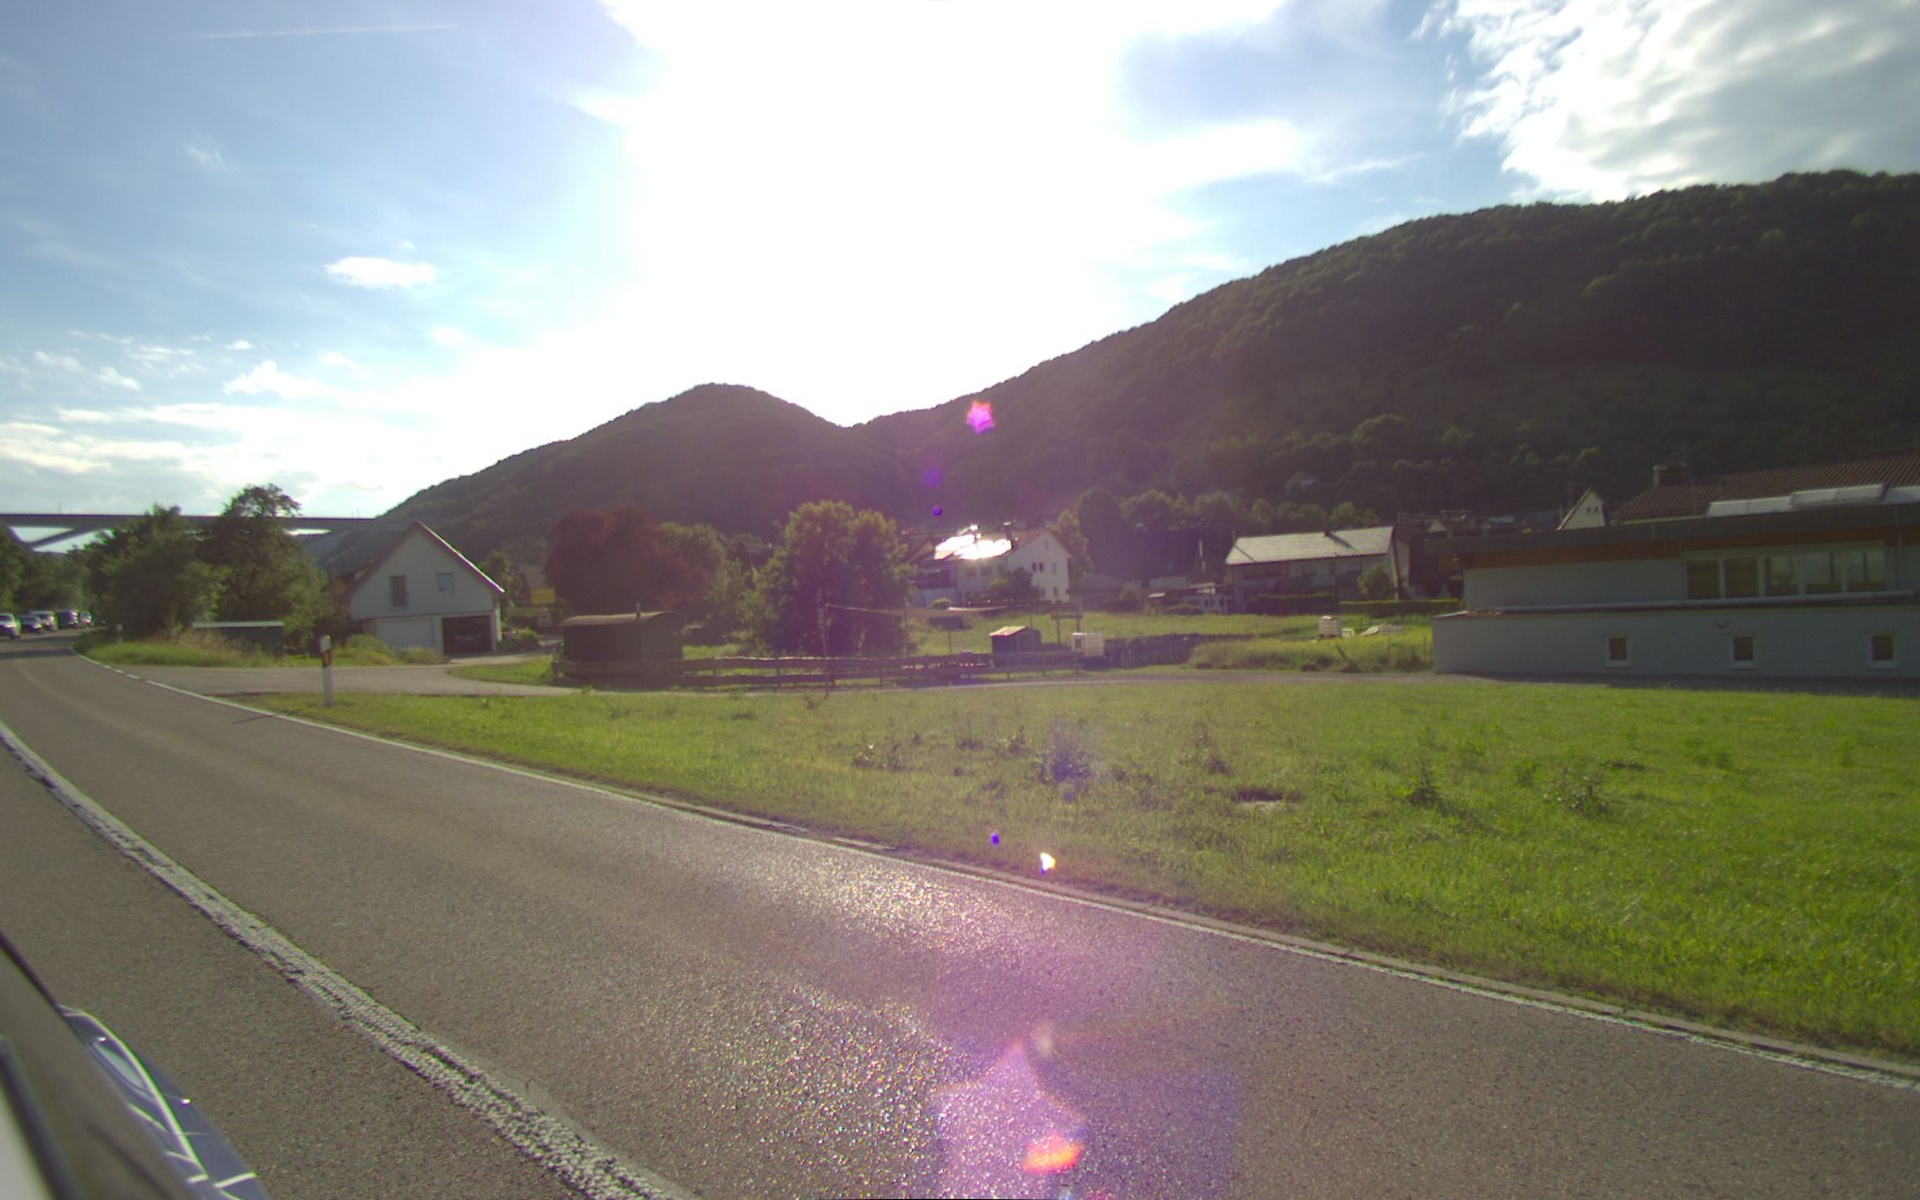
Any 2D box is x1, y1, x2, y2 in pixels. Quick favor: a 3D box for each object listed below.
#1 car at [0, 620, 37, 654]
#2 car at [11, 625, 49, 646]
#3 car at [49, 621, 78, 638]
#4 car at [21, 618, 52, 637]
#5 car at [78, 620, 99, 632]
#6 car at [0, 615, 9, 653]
[{"bbox_3d":[-59.995,2.319,64.211,1.886,2.029,4.007,1,-2,-39],"label":"car"},{"bbox_3d":[-71.043,2.681,77.353,1.813,1.564,4.185,1,-2,-39],"label":"car"},{"bbox_3d":[-88.125,2.865,99.511,1.790,1.630,4.009,1,-2,-37],"label":"car"},{"bbox_3d":[-80.148,2.349,87.843,1.791,1.630,4.007,1,-2,-40],"label":"car"},{"bbox_3d":[-112.912,3.368,131.184,1.813,1.564,4.186,1,-2,-38],"label":"car"},{"bbox_3d":[-54.074,1.868,55.868,1.885,2.029,4.008,1,-2,-38],"label":"car"}]
